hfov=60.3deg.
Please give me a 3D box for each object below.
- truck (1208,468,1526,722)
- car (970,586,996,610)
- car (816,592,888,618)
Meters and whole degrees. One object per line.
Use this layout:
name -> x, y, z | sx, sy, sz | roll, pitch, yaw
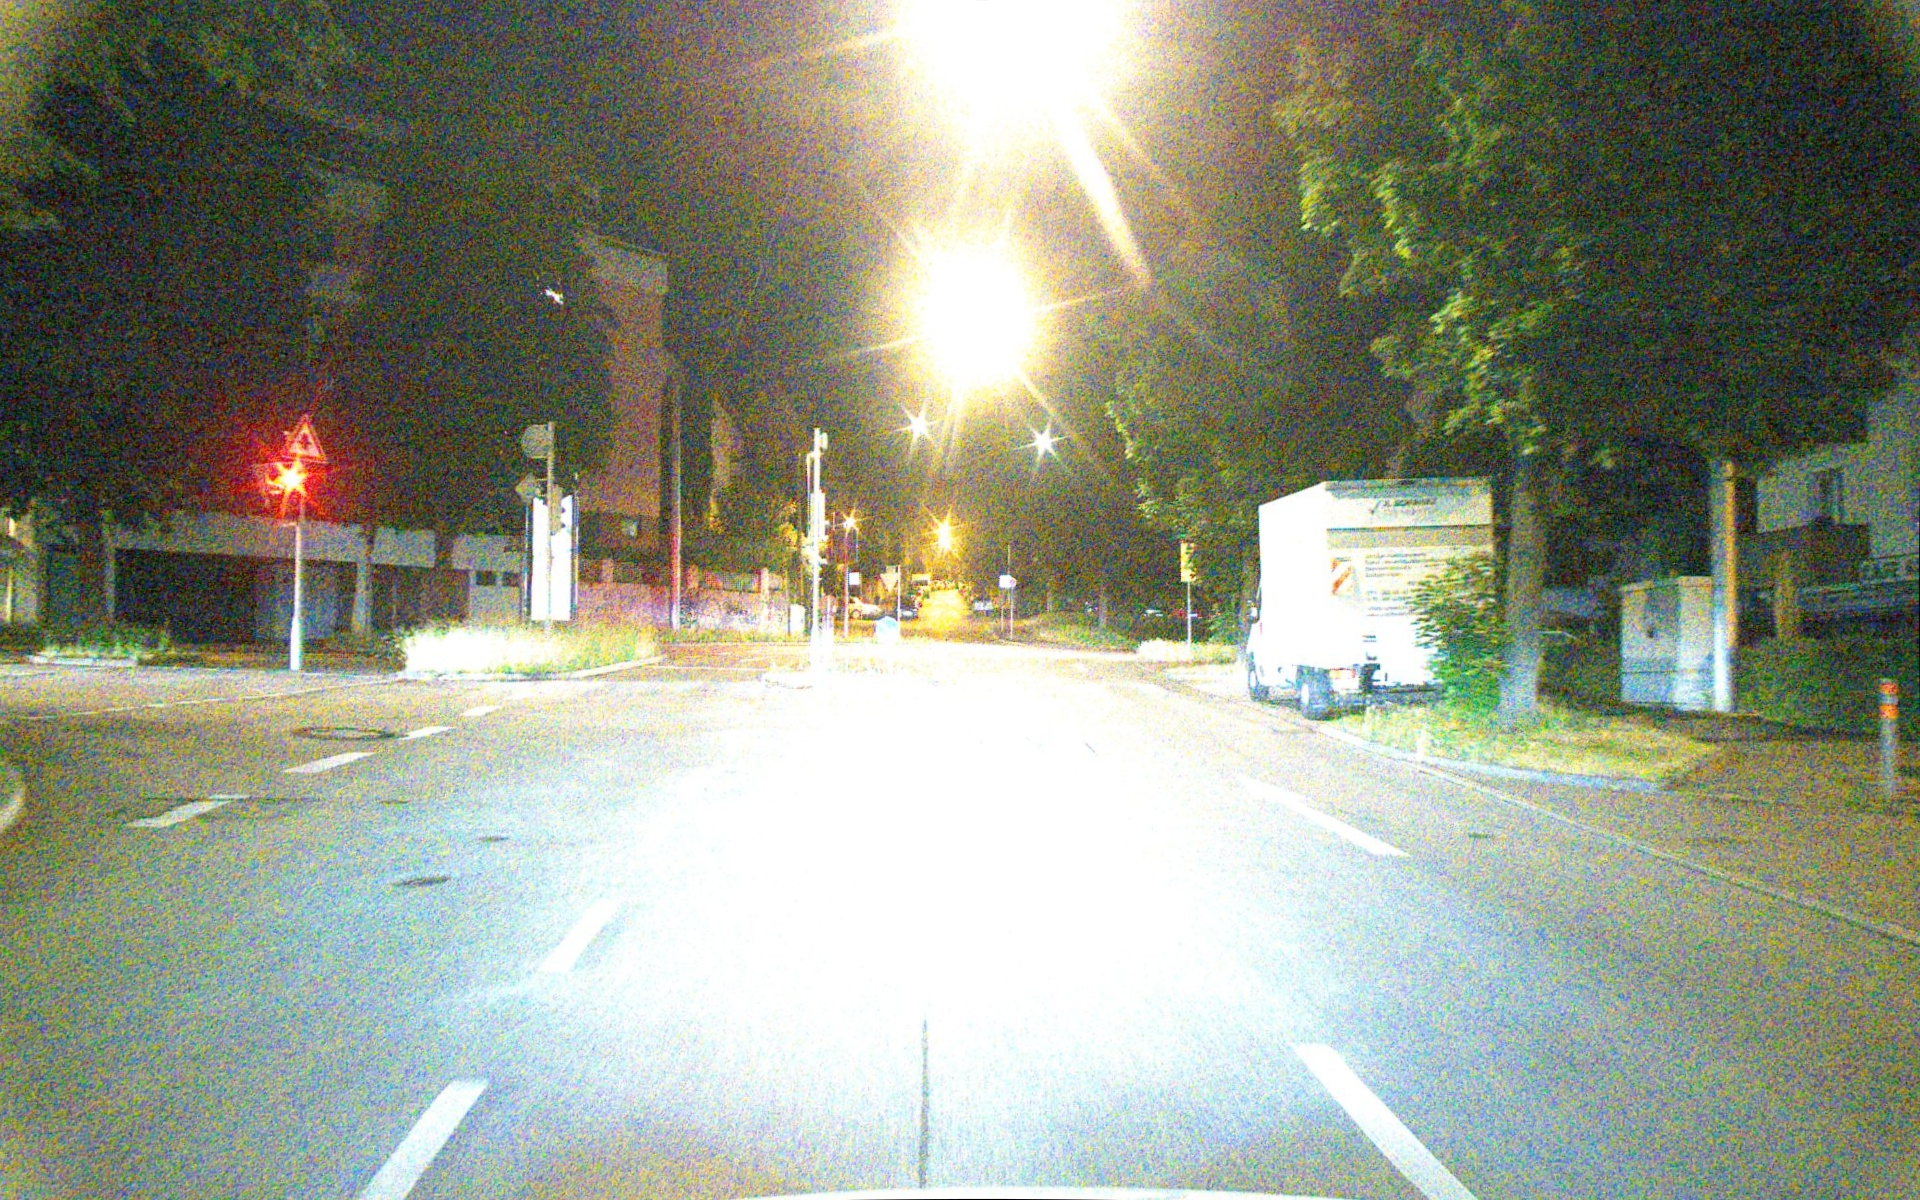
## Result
truck -> 5.584, -0.056, 24.049 | 2.708, 3.097, 7.034 | -1, 0, -1
car -> 1.850, -0.175, 132.459 | 1.953, 1.800, 3.999 | 1, 0, -1
car -> -7.132, 0.310, 108.761 | 4.419, 1.584, 1.994 | 2, 0, 34
